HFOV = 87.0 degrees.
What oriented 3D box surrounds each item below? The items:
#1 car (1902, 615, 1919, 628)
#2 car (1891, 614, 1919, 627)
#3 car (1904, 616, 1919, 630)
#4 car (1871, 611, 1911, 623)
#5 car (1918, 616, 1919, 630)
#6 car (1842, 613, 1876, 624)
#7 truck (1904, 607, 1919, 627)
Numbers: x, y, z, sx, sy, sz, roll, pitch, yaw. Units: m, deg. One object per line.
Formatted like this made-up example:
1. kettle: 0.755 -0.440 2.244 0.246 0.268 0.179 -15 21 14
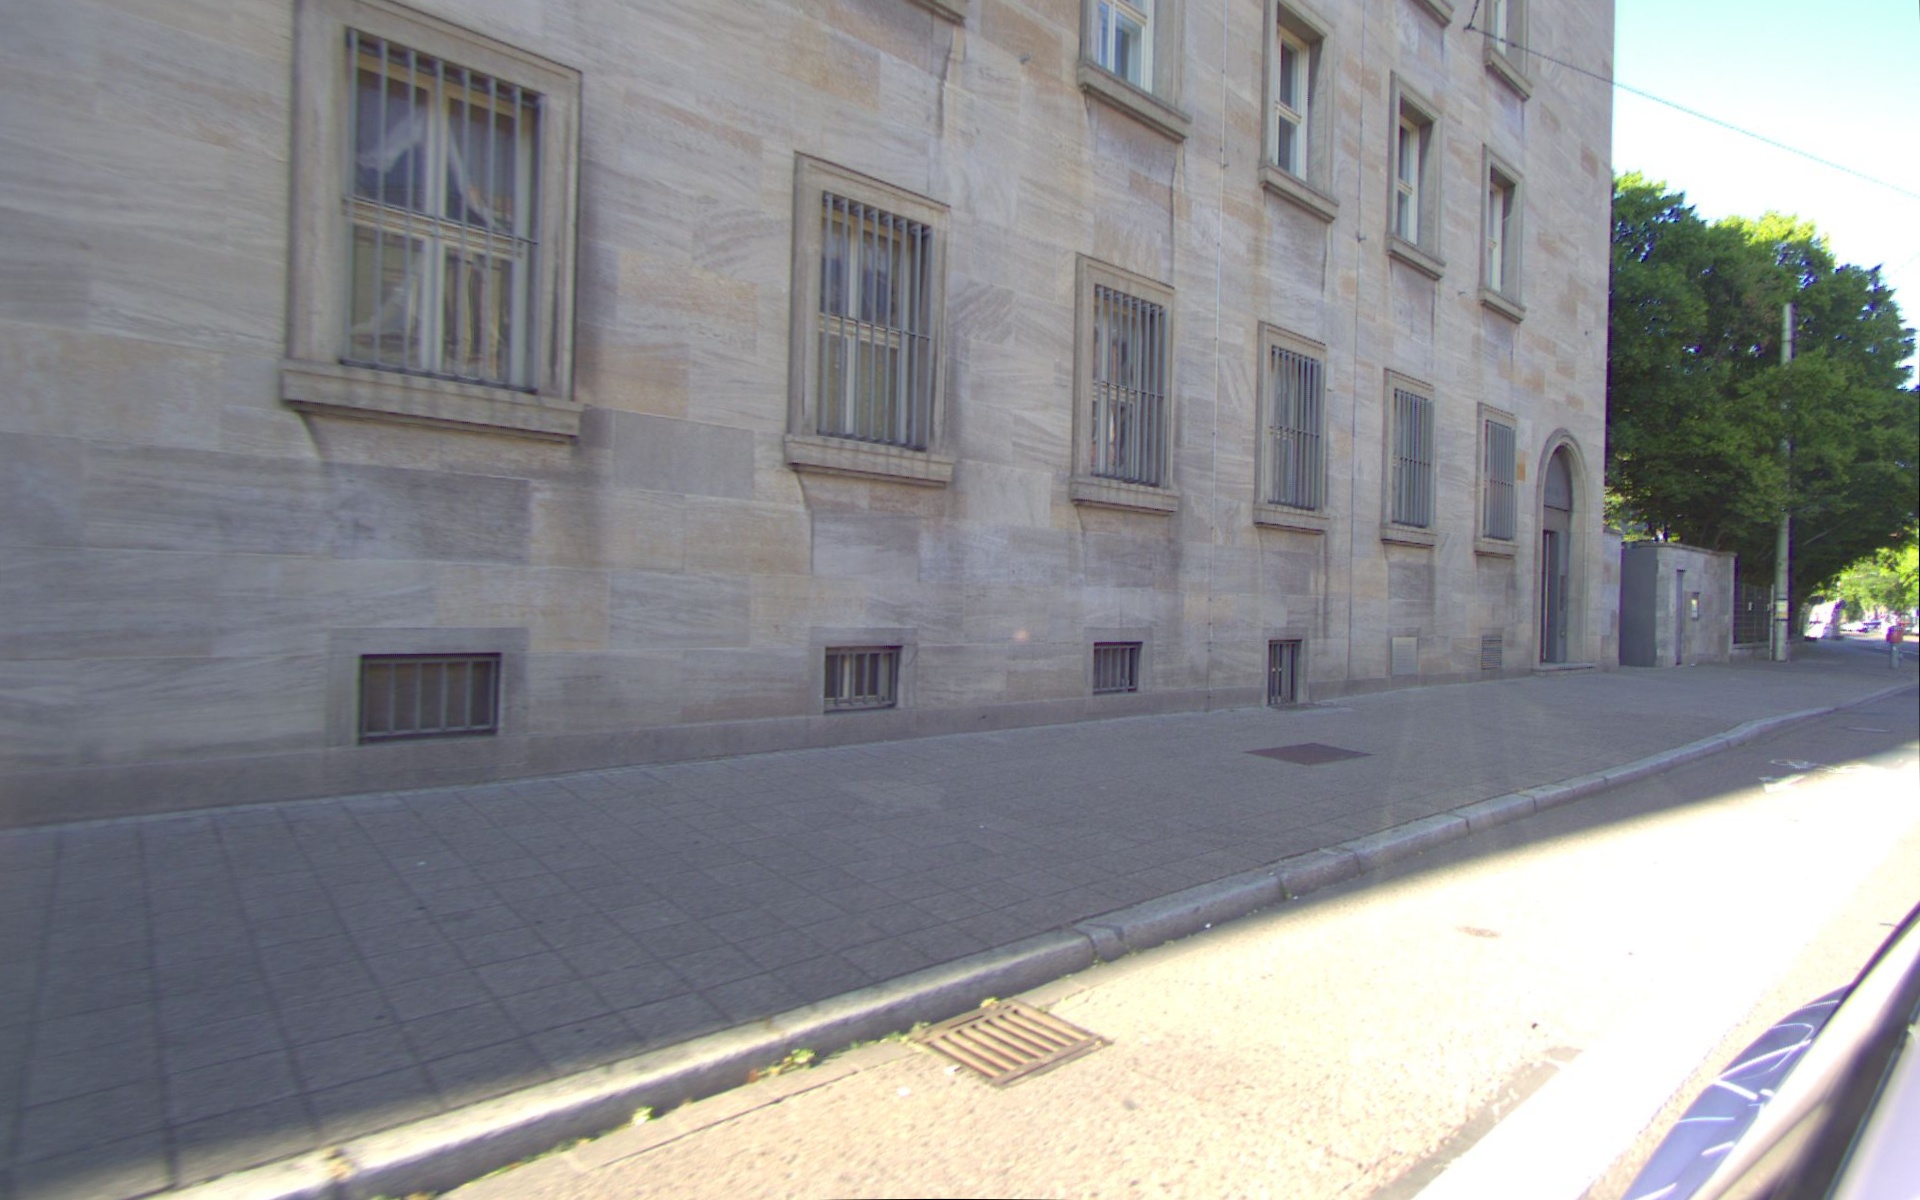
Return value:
1. car: 119.696 2.645 125.568 3.742 1.614 1.654 -2 -2 31
2. car: 121.423 2.608 129.028 3.742 1.614 1.654 -2 -2 31
3. car: 114.680 2.713 119.879 3.742 1.614 1.654 -2 -2 31
4. car: 130.941 2.403 142.366 3.742 1.614 1.654 -2 -2 31
5. car: 113.533 2.659 116.992 3.742 1.614 1.654 -2 -2 31
6. car: 138.370 2.843 155.781 3.592 1.520 1.487 -2 -2 31
7. truck: 117.805 2.043 123.323 3.749 2.454 1.651 -2 -2 36
